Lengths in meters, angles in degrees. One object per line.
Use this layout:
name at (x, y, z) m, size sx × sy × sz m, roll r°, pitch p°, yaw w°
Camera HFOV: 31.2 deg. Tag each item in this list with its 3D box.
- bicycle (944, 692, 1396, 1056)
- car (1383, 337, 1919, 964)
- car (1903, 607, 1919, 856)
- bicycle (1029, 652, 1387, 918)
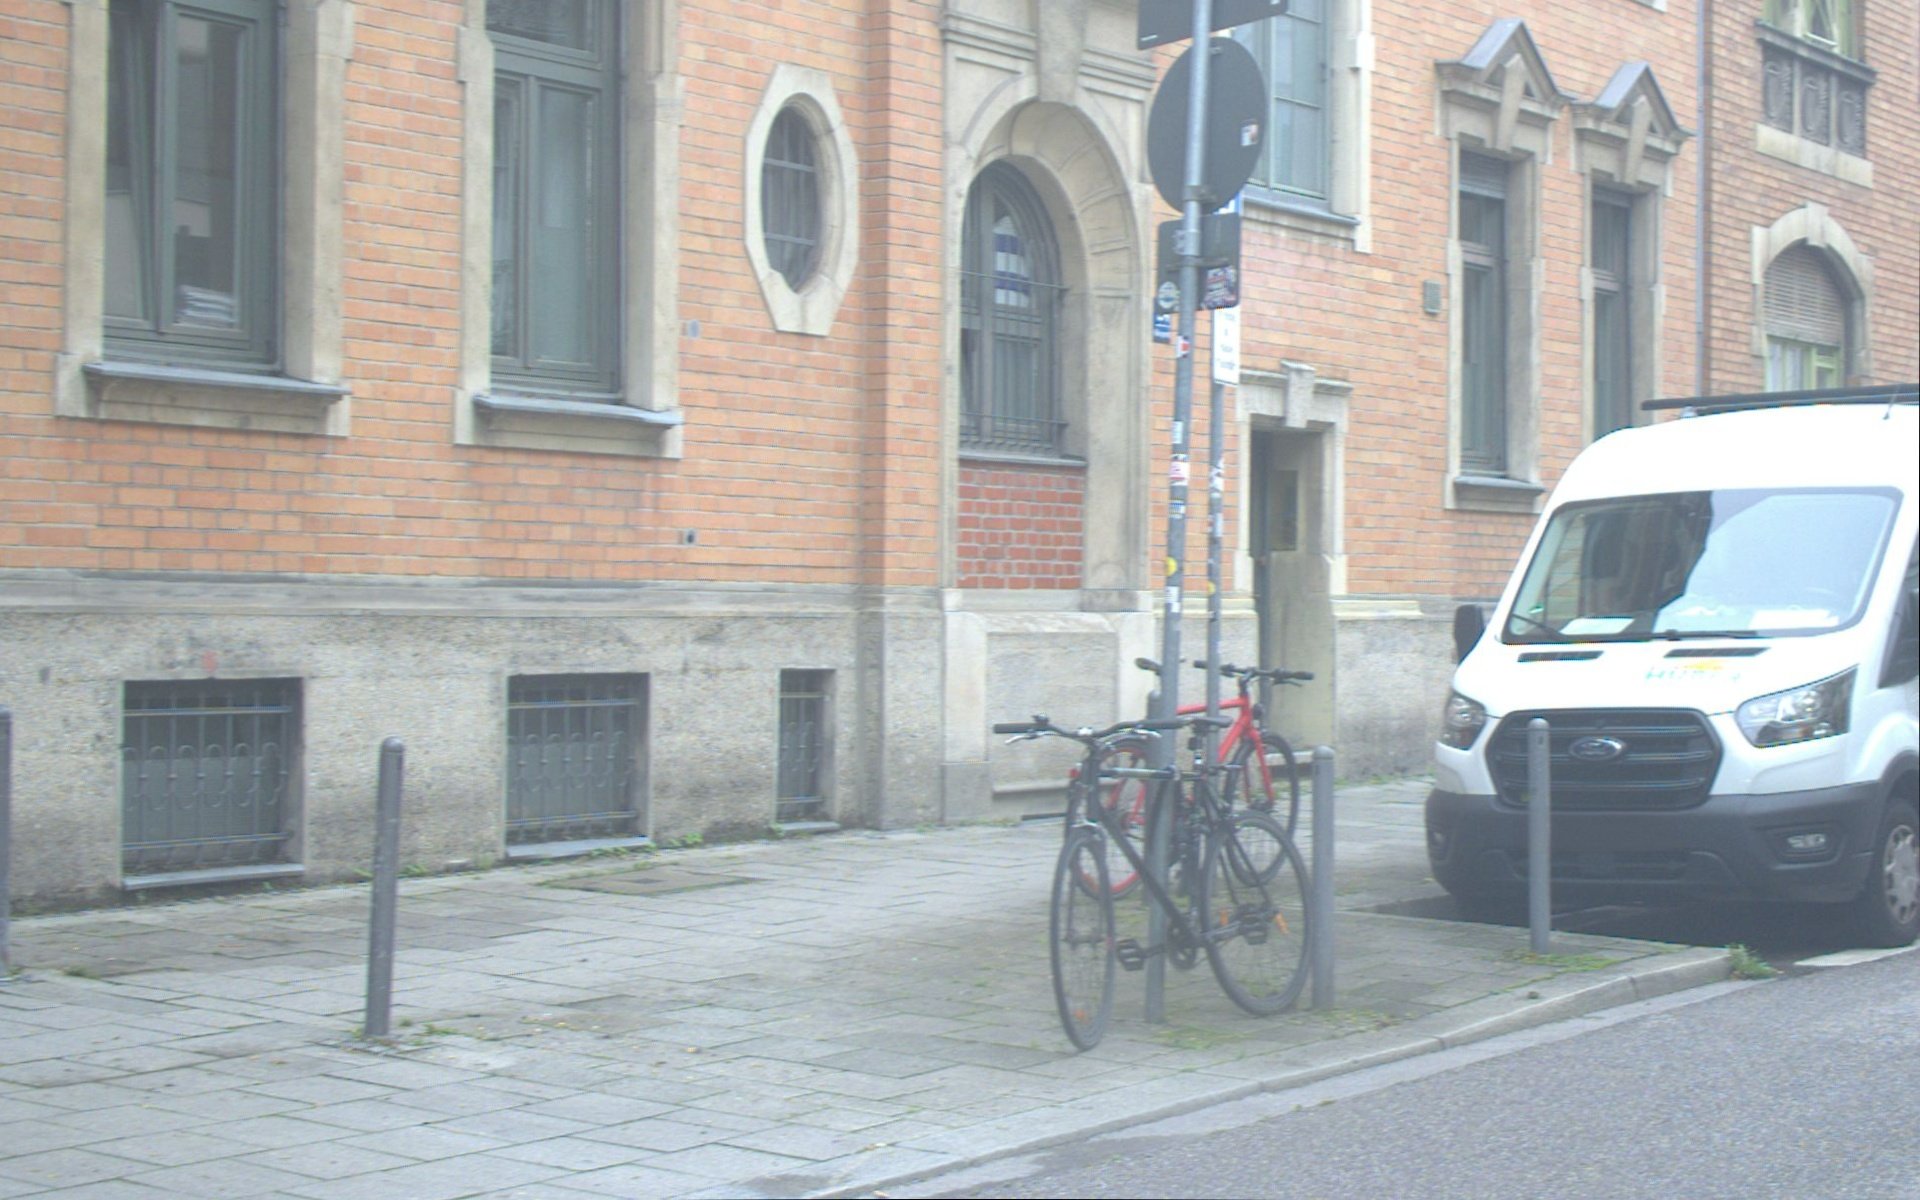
bicycle at (0.716, 0.843, 11.160) m, size 0.581 × 1.050 × 1.759 m, roll 0°, pitch 0°, yaw 38°
car at (4.166, 0.236, 16.306) m, size 1.996 × 2.460 × 5.460 m, roll -2°, pitch -1°, yaw 34°
car at (7.329, 0.740, 21.220) m, size 1.692 × 1.449 × 3.989 m, roll -2°, pitch -1°, yaw 34°
bicycle at (1.104, 0.765, 14.895) m, size 0.581 × 1.050 × 1.890 m, roll 1°, pitch 1°, yaw 38°
